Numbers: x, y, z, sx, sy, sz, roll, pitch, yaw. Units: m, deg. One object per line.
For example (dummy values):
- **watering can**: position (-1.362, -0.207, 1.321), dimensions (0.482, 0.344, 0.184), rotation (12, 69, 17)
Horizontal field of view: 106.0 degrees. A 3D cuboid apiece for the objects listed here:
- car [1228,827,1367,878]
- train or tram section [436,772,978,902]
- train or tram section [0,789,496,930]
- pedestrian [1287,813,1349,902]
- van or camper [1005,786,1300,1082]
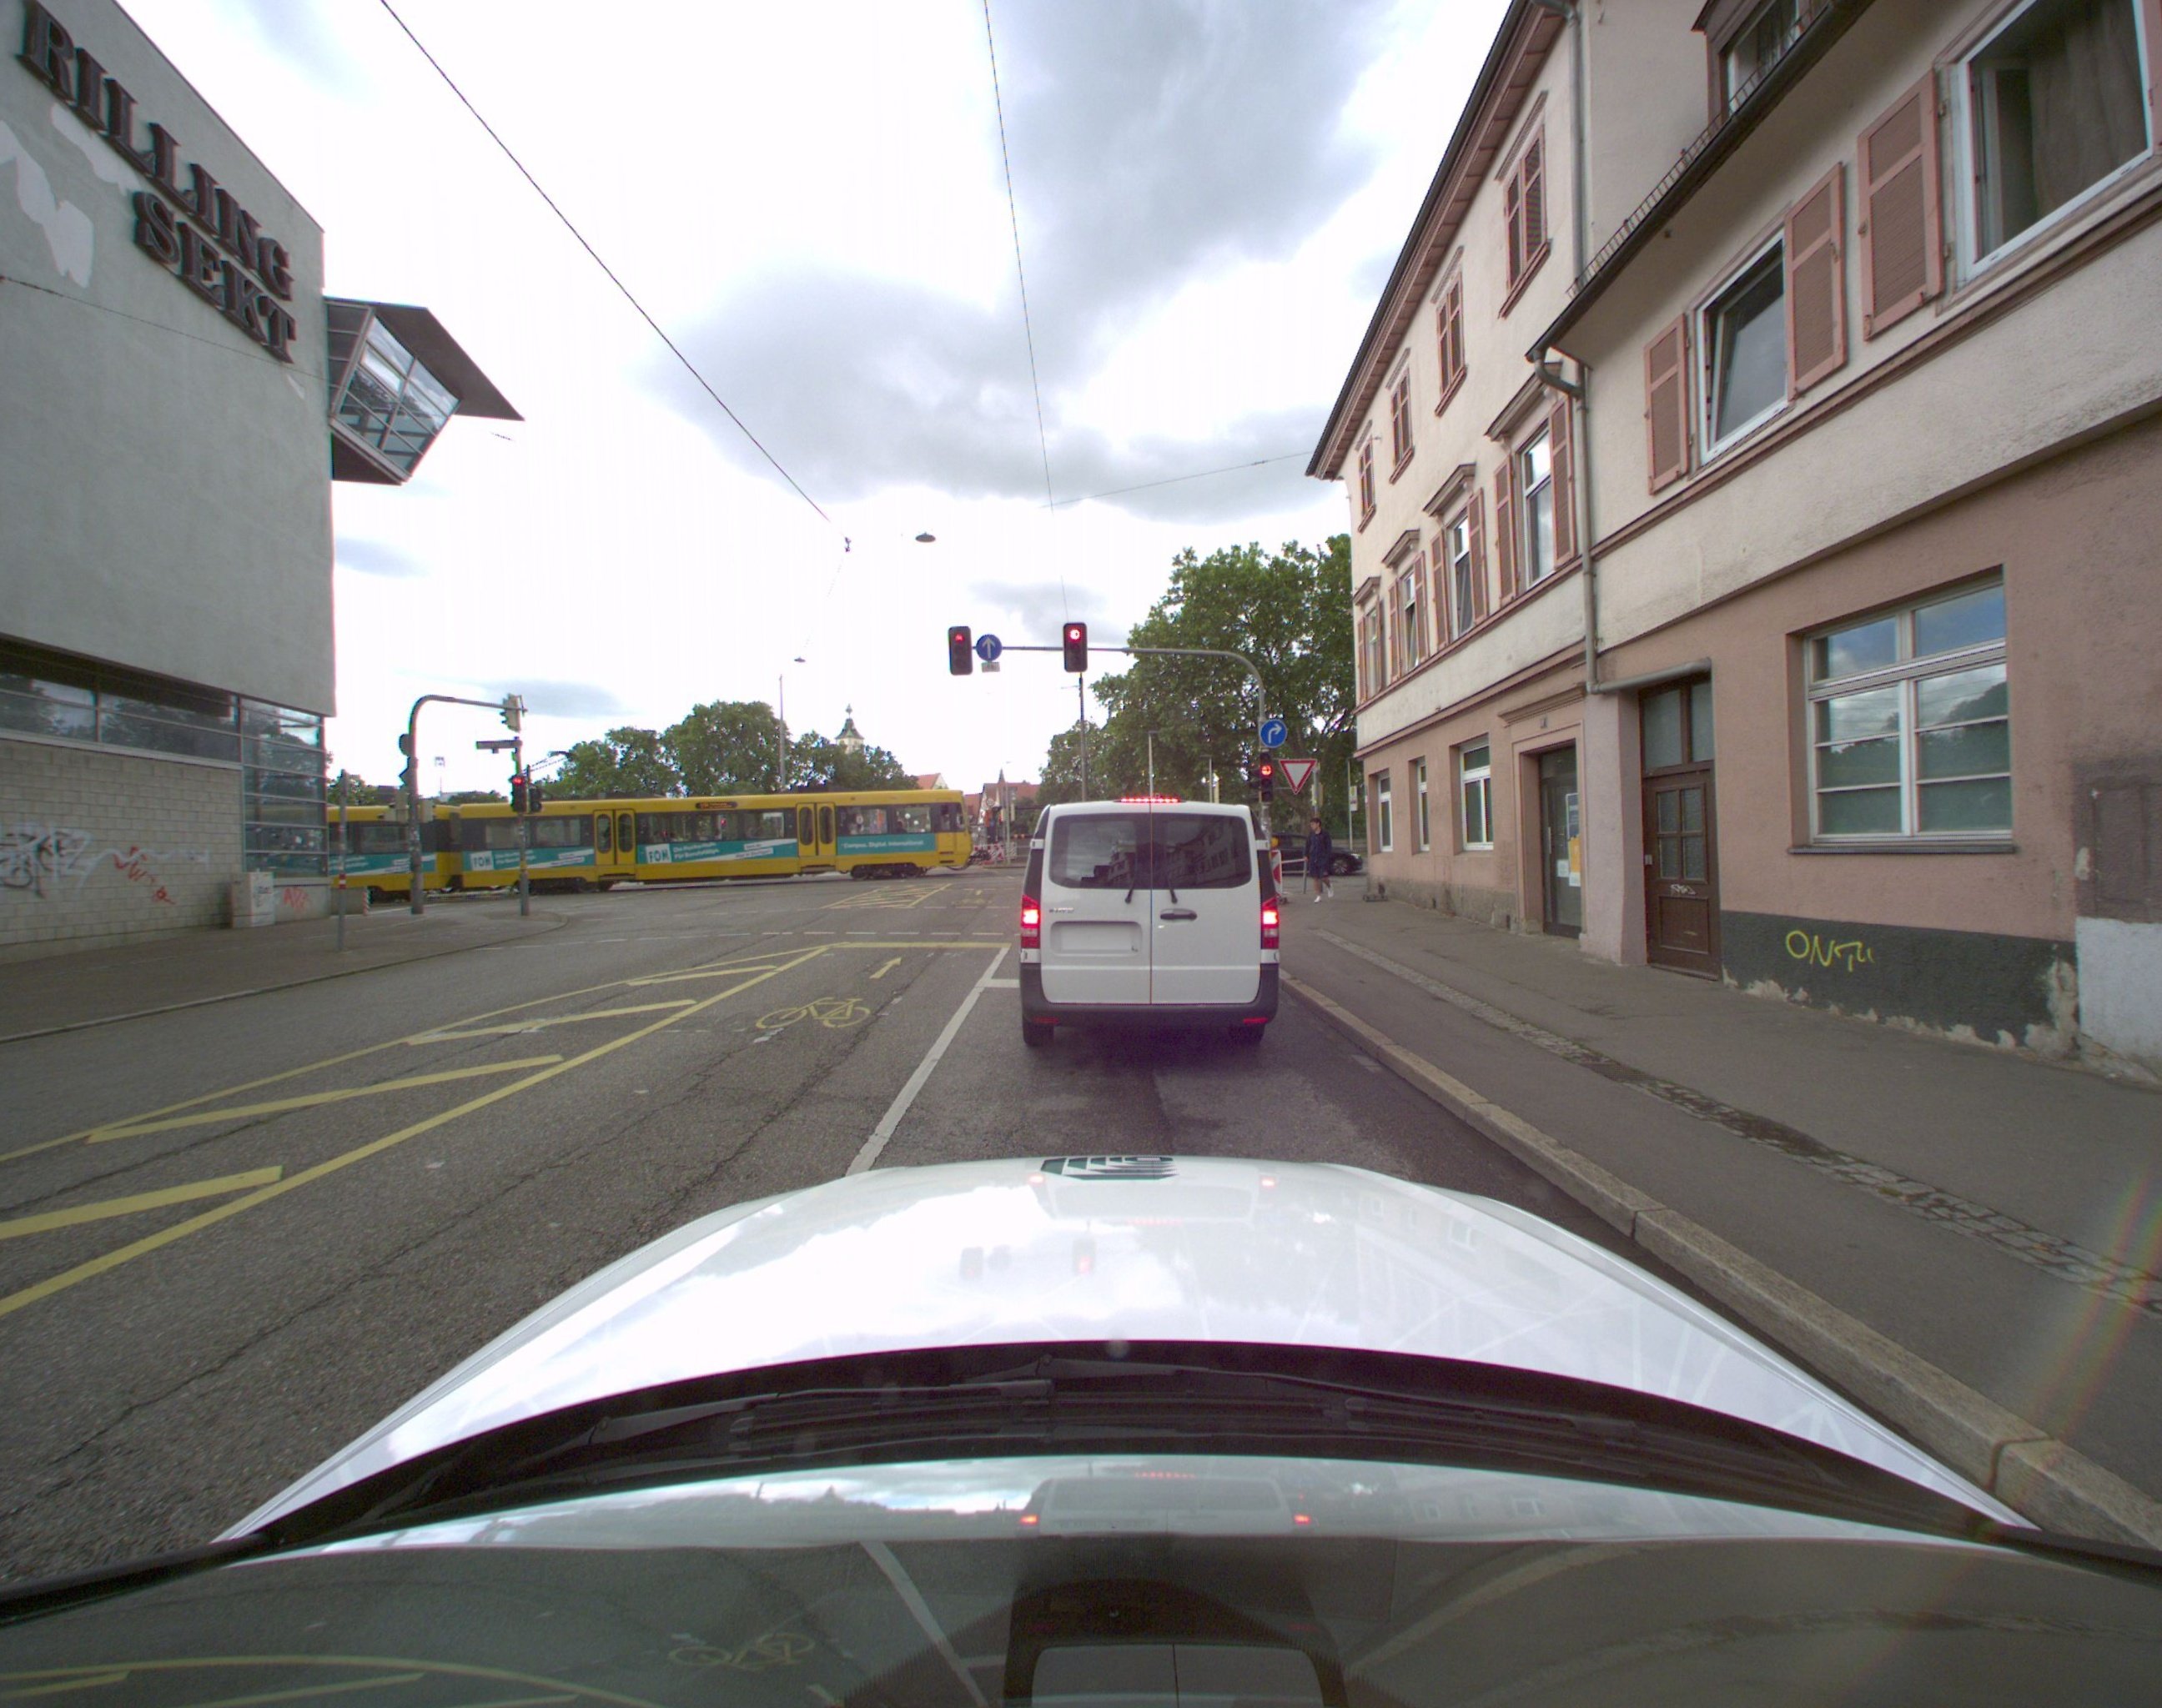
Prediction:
- **car**: position (7.237, -0.076, 27.568), dimensions (4.254, 1.574, 1.873), rotation (-1, 2, 3)
- **train or tram section**: position (-13.638, -0.818, 31.970), dimensions (18.771, 4.002, 3.255), rotation (-3, 3, -10)
- **train or tram section**: position (-32.050, 0.193, 27.948), dimensions (19.256, 4.002, 3.293), rotation (-3, 3, -15)
- **pedestrian**: position (5.204, 0.063, 17.878), dimensions (1.159, 1.856, 0.671), rotation (-3, 1, -37)
- **van or camper**: position (0.433, 0.451, 7.544), dimensions (1.932, 1.924, 4.439), rotation (0, 2, -1)
